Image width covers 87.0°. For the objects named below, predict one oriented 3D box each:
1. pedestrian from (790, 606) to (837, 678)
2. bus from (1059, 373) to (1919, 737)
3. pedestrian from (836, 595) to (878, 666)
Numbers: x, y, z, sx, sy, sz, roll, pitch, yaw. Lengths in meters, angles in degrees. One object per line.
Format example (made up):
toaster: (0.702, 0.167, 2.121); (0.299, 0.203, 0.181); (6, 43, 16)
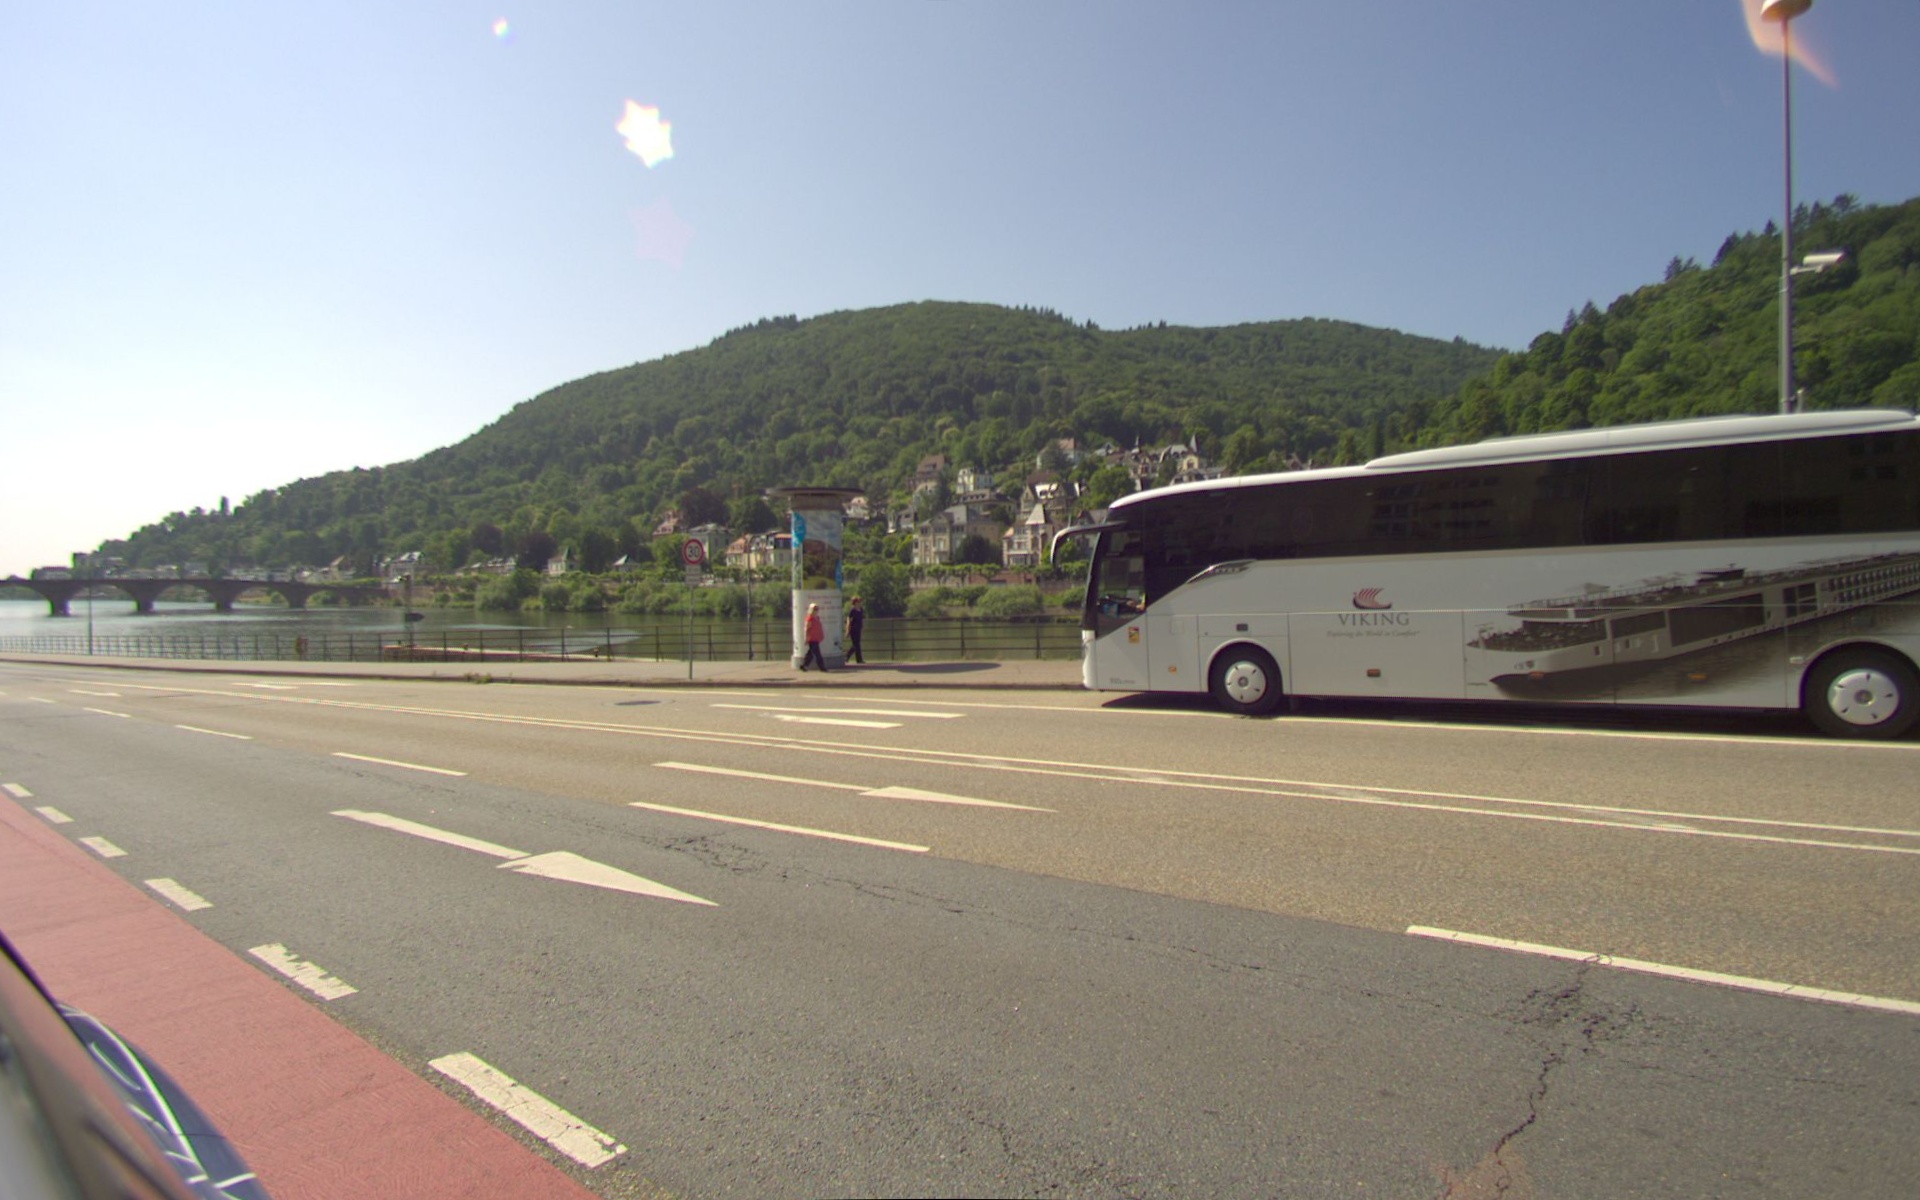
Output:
pedestrian: (-3.370, 0.955, 23.287); (0.813, 1.633, 0.698); (-1, -1, 28)
bus: (7.981, -0.427, 13.764); (13.204, 3.828, 2.934); (-2, 2, 33)
pedestrian: (-2.550, 0.750, 25.085); (0.769, 1.722, 0.679); (-1, -1, 24)
